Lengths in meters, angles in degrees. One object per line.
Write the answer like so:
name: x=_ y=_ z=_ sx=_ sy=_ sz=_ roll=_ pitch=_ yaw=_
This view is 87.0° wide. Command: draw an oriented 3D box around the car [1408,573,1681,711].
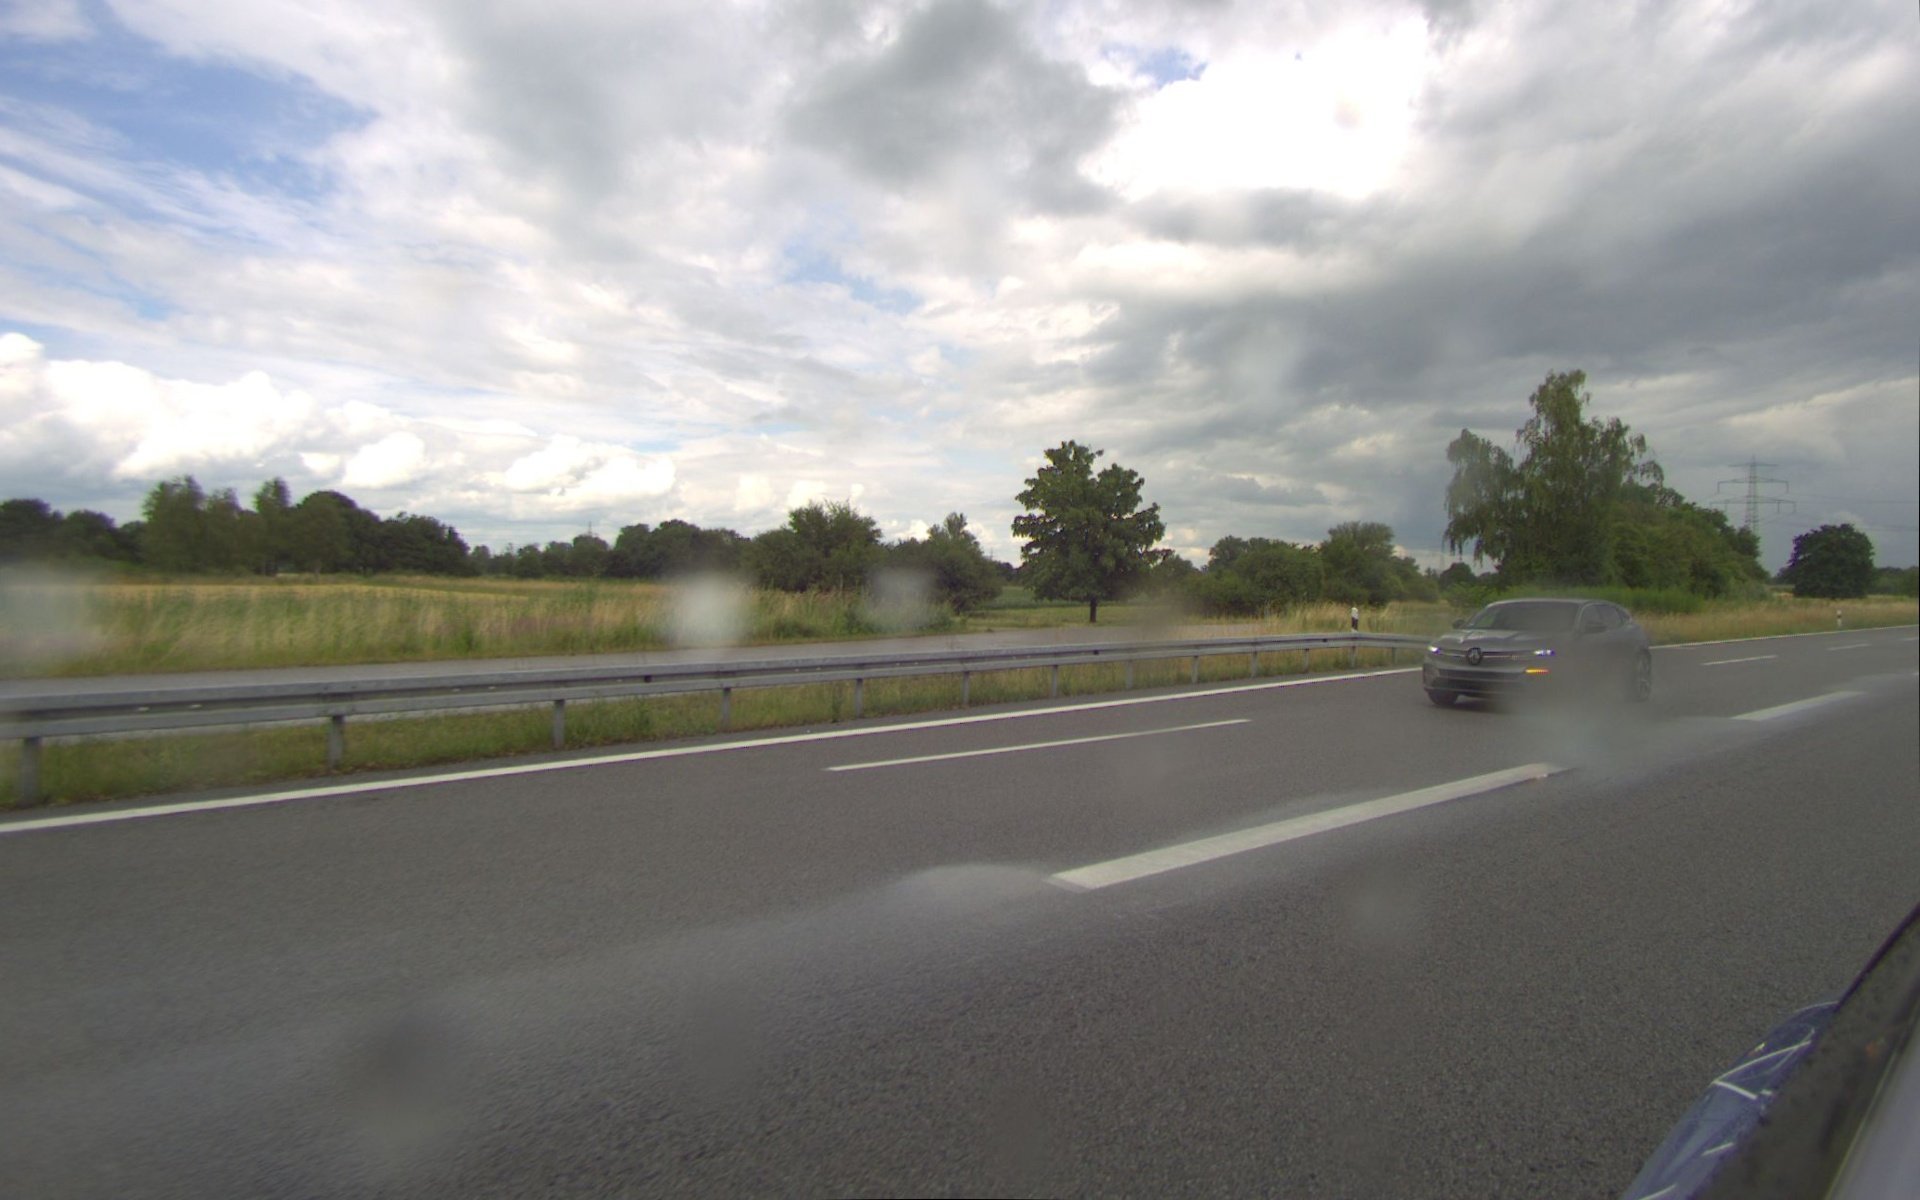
car: x=8.409 y=0.477 z=14.387 sx=4.549 sy=1.662 sz=1.997 roll=0 pitch=1 yaw=-41
